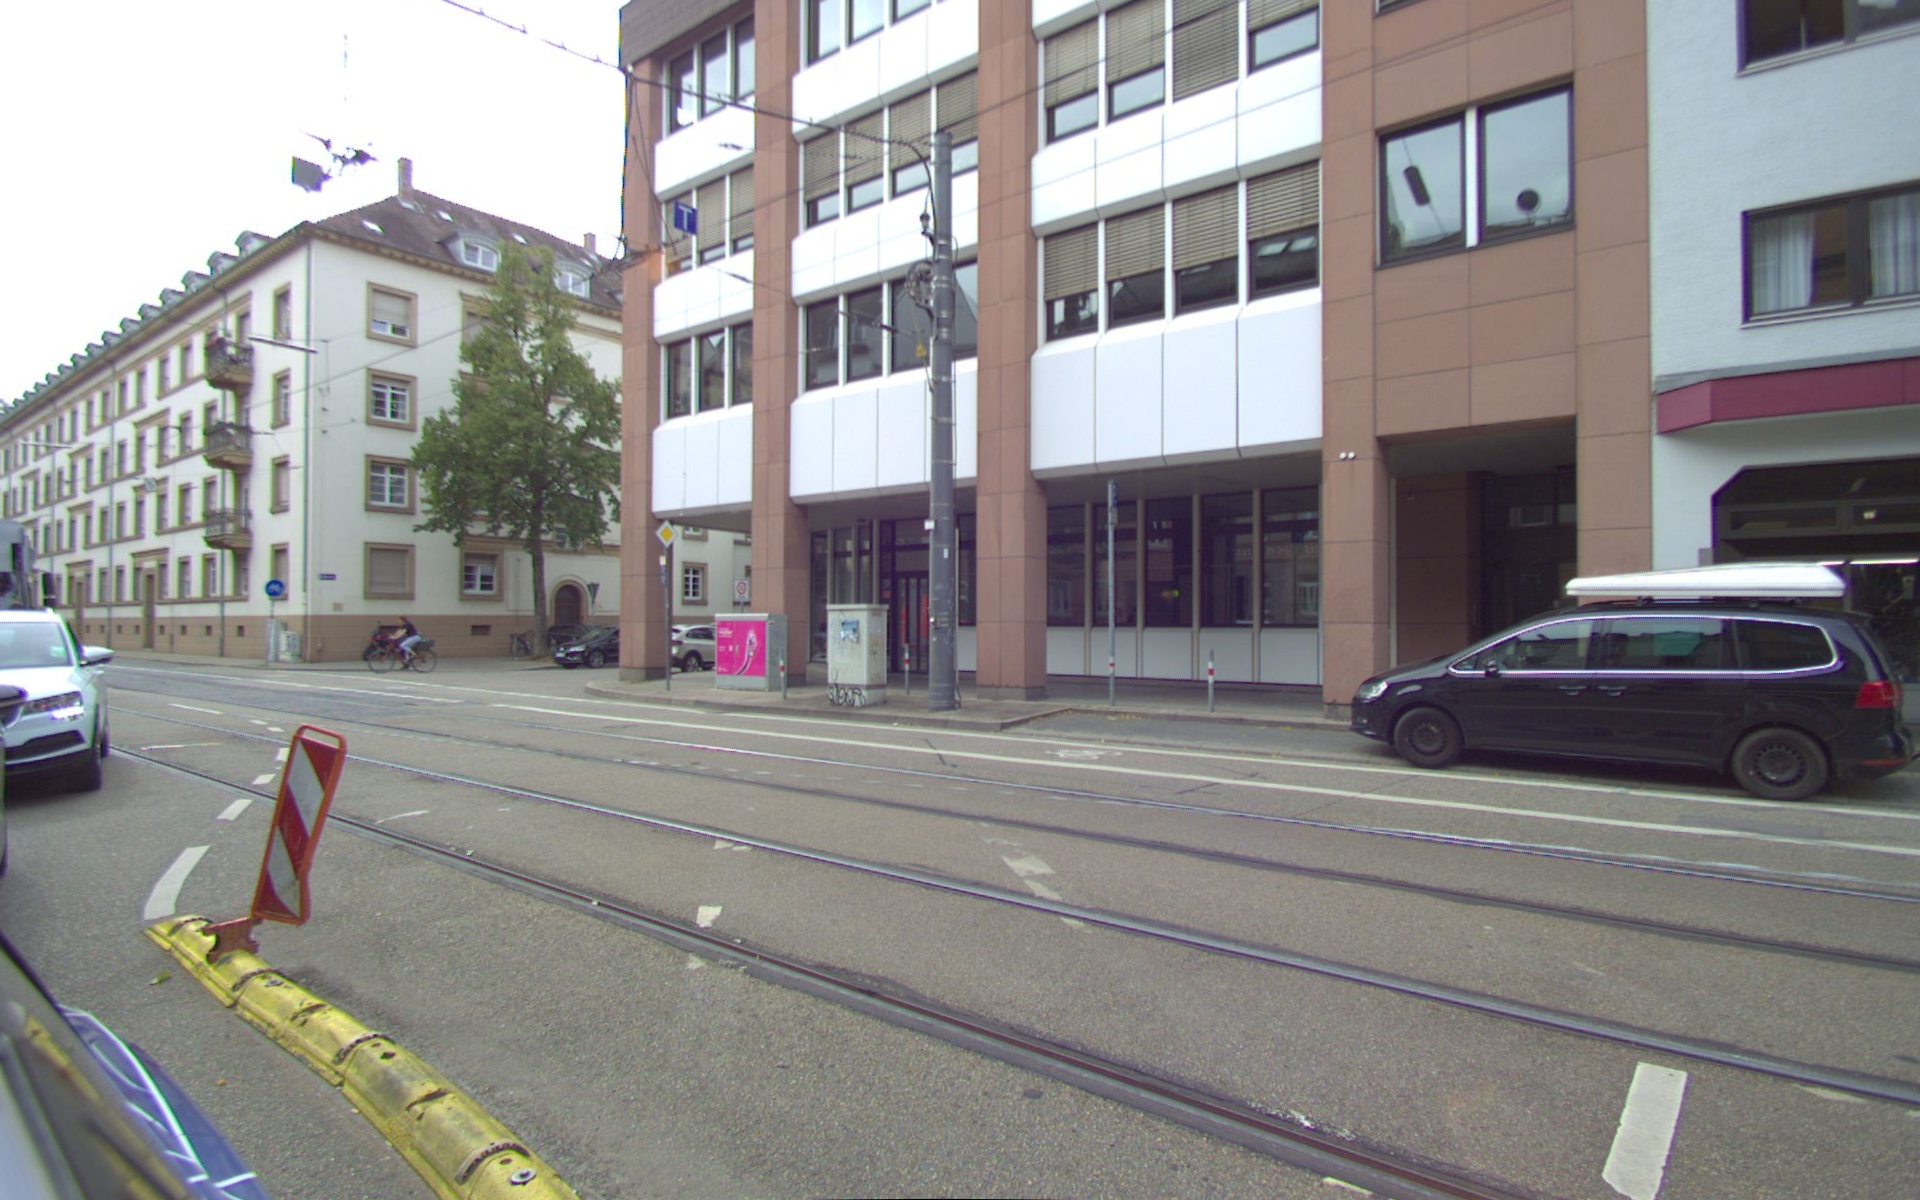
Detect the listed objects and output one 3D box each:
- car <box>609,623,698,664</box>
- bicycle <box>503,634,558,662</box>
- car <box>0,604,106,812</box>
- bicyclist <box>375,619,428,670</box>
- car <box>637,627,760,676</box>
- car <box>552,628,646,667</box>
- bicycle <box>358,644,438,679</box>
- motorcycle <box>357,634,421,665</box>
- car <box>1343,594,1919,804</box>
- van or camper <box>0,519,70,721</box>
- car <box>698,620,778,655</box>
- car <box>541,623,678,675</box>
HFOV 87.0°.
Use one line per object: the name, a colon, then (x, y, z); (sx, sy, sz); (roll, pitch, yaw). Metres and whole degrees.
car: (-12.256, 1.711, 40.417); (3.711, 1.559, 1.591); (-1, -2, 38)
bicycle: (-17.557, 1.959, 41.380); (0.792, 1.094, 1.900); (-2, -2, 39)
car: (-9.121, 0.890, 9.214); (1.748, 1.603, 4.285); (-1, -1, -44)
bicyclist: (-16.566, 1.309, 30.023); (1.240, 1.473, 0.678); (1, -3, -40)
car: (-7.947, 1.544, 31.027); (1.606, 1.399, 3.611); (-1, -2, 31)
car: (-13.805, 1.775, 38.620); (3.869, 1.407, 1.591); (-1, -2, 38)
bicycle: (-16.621, 1.798, 29.949); (1.980, 0.972, 0.674); (1, -3, -40)
motorcycle: (-20.892, 1.801, 37.067); (0.792, 1.094, 1.900); (-2, -2, 39)
car: (6.561, 0.838, 10.217); (4.694, 1.659, 1.789); (-2, 0, 40)
van or camper: (-20.318, 0.432, 19.974); (9.642, 3.447, 2.575); (-2, -2, 39)
car: (-9.850, 1.655, 44.766); (3.520, 1.473, 1.572); (-1, -2, 38)
car: (-11.720, 1.588, 33.983); (3.985, 1.549, 1.777); (-1, -1, -40)
